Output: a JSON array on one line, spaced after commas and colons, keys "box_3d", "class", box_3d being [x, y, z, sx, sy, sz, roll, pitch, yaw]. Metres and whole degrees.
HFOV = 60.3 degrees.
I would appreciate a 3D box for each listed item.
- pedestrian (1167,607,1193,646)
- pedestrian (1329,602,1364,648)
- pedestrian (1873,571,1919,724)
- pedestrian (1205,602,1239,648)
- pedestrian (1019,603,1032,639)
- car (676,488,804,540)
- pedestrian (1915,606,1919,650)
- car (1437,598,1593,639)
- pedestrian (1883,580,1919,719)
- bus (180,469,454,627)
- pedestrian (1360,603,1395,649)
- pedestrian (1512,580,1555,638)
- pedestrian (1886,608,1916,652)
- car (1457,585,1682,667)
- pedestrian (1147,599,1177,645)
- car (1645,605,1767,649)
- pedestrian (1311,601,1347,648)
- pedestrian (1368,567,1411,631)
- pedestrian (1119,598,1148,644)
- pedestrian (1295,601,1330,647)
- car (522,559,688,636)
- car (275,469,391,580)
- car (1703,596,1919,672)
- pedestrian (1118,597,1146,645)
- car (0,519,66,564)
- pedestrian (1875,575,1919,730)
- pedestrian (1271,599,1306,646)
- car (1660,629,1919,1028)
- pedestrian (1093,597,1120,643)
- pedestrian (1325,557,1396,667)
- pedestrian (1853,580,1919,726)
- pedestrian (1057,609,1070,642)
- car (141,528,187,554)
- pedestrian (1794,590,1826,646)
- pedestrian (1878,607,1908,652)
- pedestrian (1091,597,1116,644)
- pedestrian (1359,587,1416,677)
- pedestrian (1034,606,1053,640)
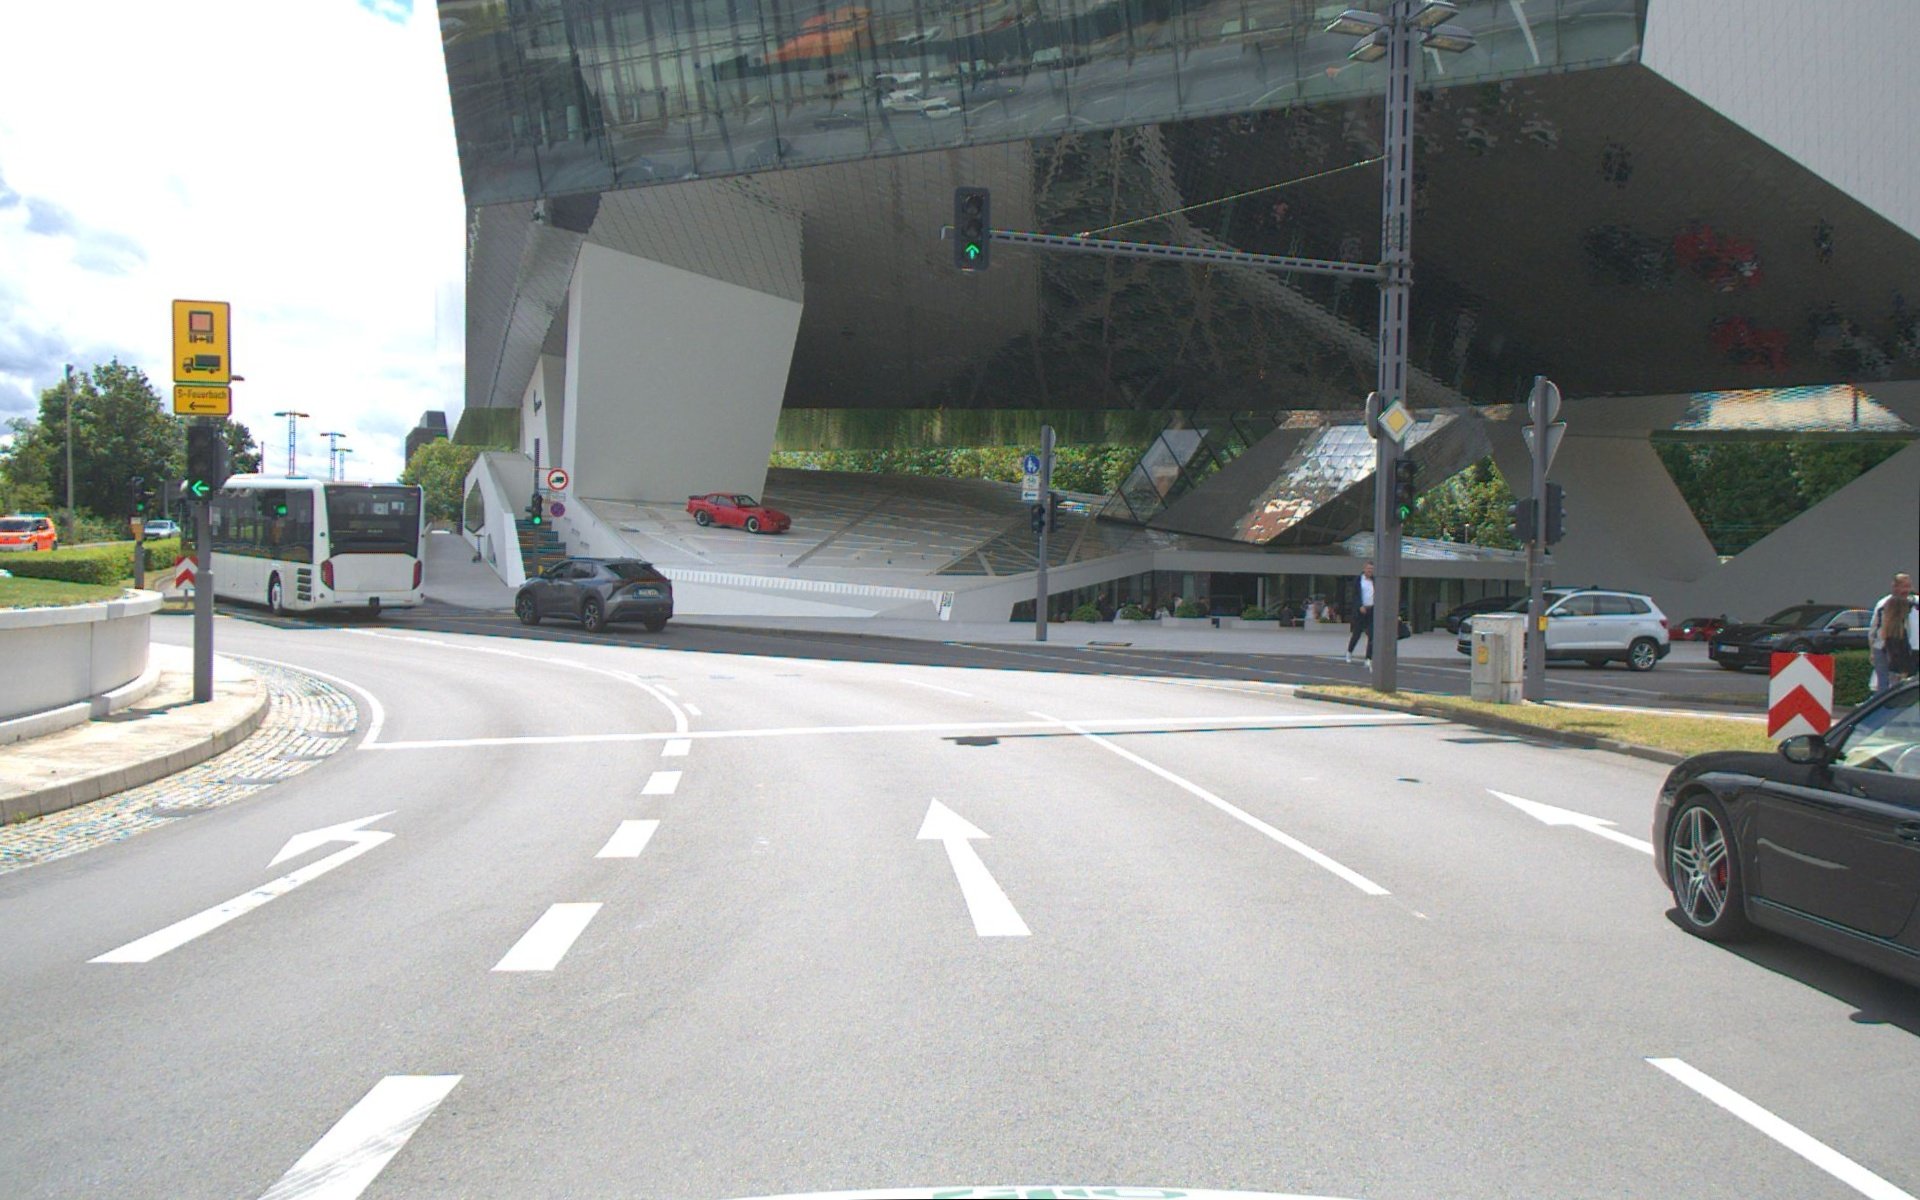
[{"box_3d": [7.674, 0.921, 57.671, 0.631, 1.341, 0.692, 1, -1, 31], "class": "pedestrian"}, {"box_3d": [13.856, 0.902, 59.317, 0.818, 1.600, 0.915, 2, -1, -27], "class": "pedestrian"}, {"box_3d": [11.810, 0.593, 20.651, 0.658, 1.879, 0.619, 1, -1, 27], "class": "pedestrian"}, {"box_3d": [9.368, 0.898, 59.161, 0.818, 1.600, 0.915, 2, -1, -27], "class": "pedestrian"}, {"box_3d": [2.354, 0.754, 59.402, 0.387, 1.275, 0.400, 2, -1, -7], "class": "pedestrian"}, {"box_3d": [-8.329, -3.293, 62.571, 4.417, 1.417, 1.997, 9, 8, 29], "class": "car"}, {"box_3d": [39.119, 1.135, 66.744, 0.820, 1.769, 0.765, 3, -2, -41], "class": "pedestrian"}, {"box_3d": [18.691, 0.616, 55.831, 4.591, 1.242, 1.990, 1, -1, 40], "class": "car"}, {"box_3d": [12.439, 0.647, 21.636, 0.593, 1.790, 0.619, 1, -1, 28], "class": "pedestrian"}, {"box_3d": [-16.772, -1.383, 42.325, 3.051, 3.420, 12.057, 3, 1, -38], "class": "bus"}, {"box_3d": [14.922, 0.933, 59.073, 0.815, 1.600, 0.918, 2, -1, -20], "class": "pedestrian"}, {"box_3d": [17.338, 0.282, 50.005, 0.818, 1.705, 0.915, 2, -1, -27], "class": "pedestrian"}, {"box_3d": [38.329, 1.226, 67.358, 0.817, 1.769, 0.768, 3, -1, -34], "class": "pedestrian"}, {"box_3d": [12.307, 0.506, 33.508, 3.916, 1.577, 1.833, 0, -1, -12], "class": "car"}, {"box_3d": [7.104, 0.781, 58.180, 0.779, 1.600, 0.691, 1, -1, 34], "class": "pedestrian"}, {"box_3d": [29.424, 1.062, 65.306, 3.906, 1.576, 1.999, 2, -1, -1], "class": "car"}, {"box_3d": [13.008, 0.857, 58.257, 0.818, 1.600, 0.915, 2, -1, -27], "class": "pedestrian"}, {"box_3d": [12.832, -0.027, 49.453, 0.818, 1.858, 0.915, 2, -1, -27], "class": "pedestrian"}, {"box_3d": [6.150, 0.756, 58.598, 0.901, 1.600, 0.831, 2, -1, 9], "class": "pedestrian"}, {"box_3d": [12.596, 0.851, 59.107, 0.818, 1.600, 0.915, 2, -1, -27], "class": "pedestrian"}, {"box_3d": [-8.145, -0.075, 37.802, 1.984, 1.665, 3.936, 0, 1, -43], "class": "car"}, {"box_3d": [-23.418, -2.636, 61.455, 3.293, 3.565, 9.268, 2, -1, -25], "class": "car"}, {"box_3d": [17.825, 0.716, 34.593, 4.085, 1.407, 1.827, 2, 1, -21], "class": "car"}, {"box_3d": [5.980, 0.732, 57.485, 0.901, 1.600, 0.831, 2, -1, 9], "class": "pedestrian"}, {"box_3d": [-43.335, -2.693, 76.749, 1.959, 2.018, 4.822, 0, 2, -12], "class": "car"}, {"box_3d": [11.400, 0.631, 19.899, 0.658, 1.826, 0.619, 1, -1, 29], "class": "pedestrian"}, {"box_3d": [11.574, 0.784, 58.281, 0.818, 1.600, 0.915, 2, -1, -27], "class": "pedestrian"}, {"box_3d": [4.247, 0.821, 5.967, 1.796, 1.348, 4.000, 0, 0, 1], "class": "car"}, {"box_3d": [5.222, 0.730, 58.902, 0.810, 1.600, 0.924, 2, -1, 10], "class": "pedestrian"}, {"box_3d": [7.683, 0.209, 31.754, 0.934, 2.019, 1.381, 2, 1, -1], "class": "pedestrian"}, {"box_3d": [10.946, 0.617, 19.321, 0.612, 1.667, 0.665, 2, -1, -32], "class": "pedestrian"}, {"box_3d": [4.080, 1.006, 65.344, 0.462, 1.275, 0.562, 2, -1, 5], "class": "pedestrian"}, {"box_3d": [-48.963, -3.635, 101.789, 1.726, 1.421, 4.655, 2, 2, -16], "class": "car"}, {"box_3d": [32.072, 0.677, 62.427, 0.818, 2.049, 0.767, 3, -1, -36], "class": "pedestrian"}, {"box_3d": [37.303, 1.172, 66.109, 0.818, 1.769, 0.767, 3, -1, -36], "class": "pedestrian"}, {"box_3d": [5.026, 0.706, 57.793, 0.810, 1.600, 0.924, 2, -1, 5], "class": "pedestrian"}, {"box_3d": [7.427, 0.557, 28.762, 0.757, 1.522, 0.580, 1, -2, 40], "class": "pedestrian"}, {"box_3d": [3.214, 0.899, 63.503, 0.548, 1.275, 0.474, 1, -1, 23], "class": "pedestrian"}]
